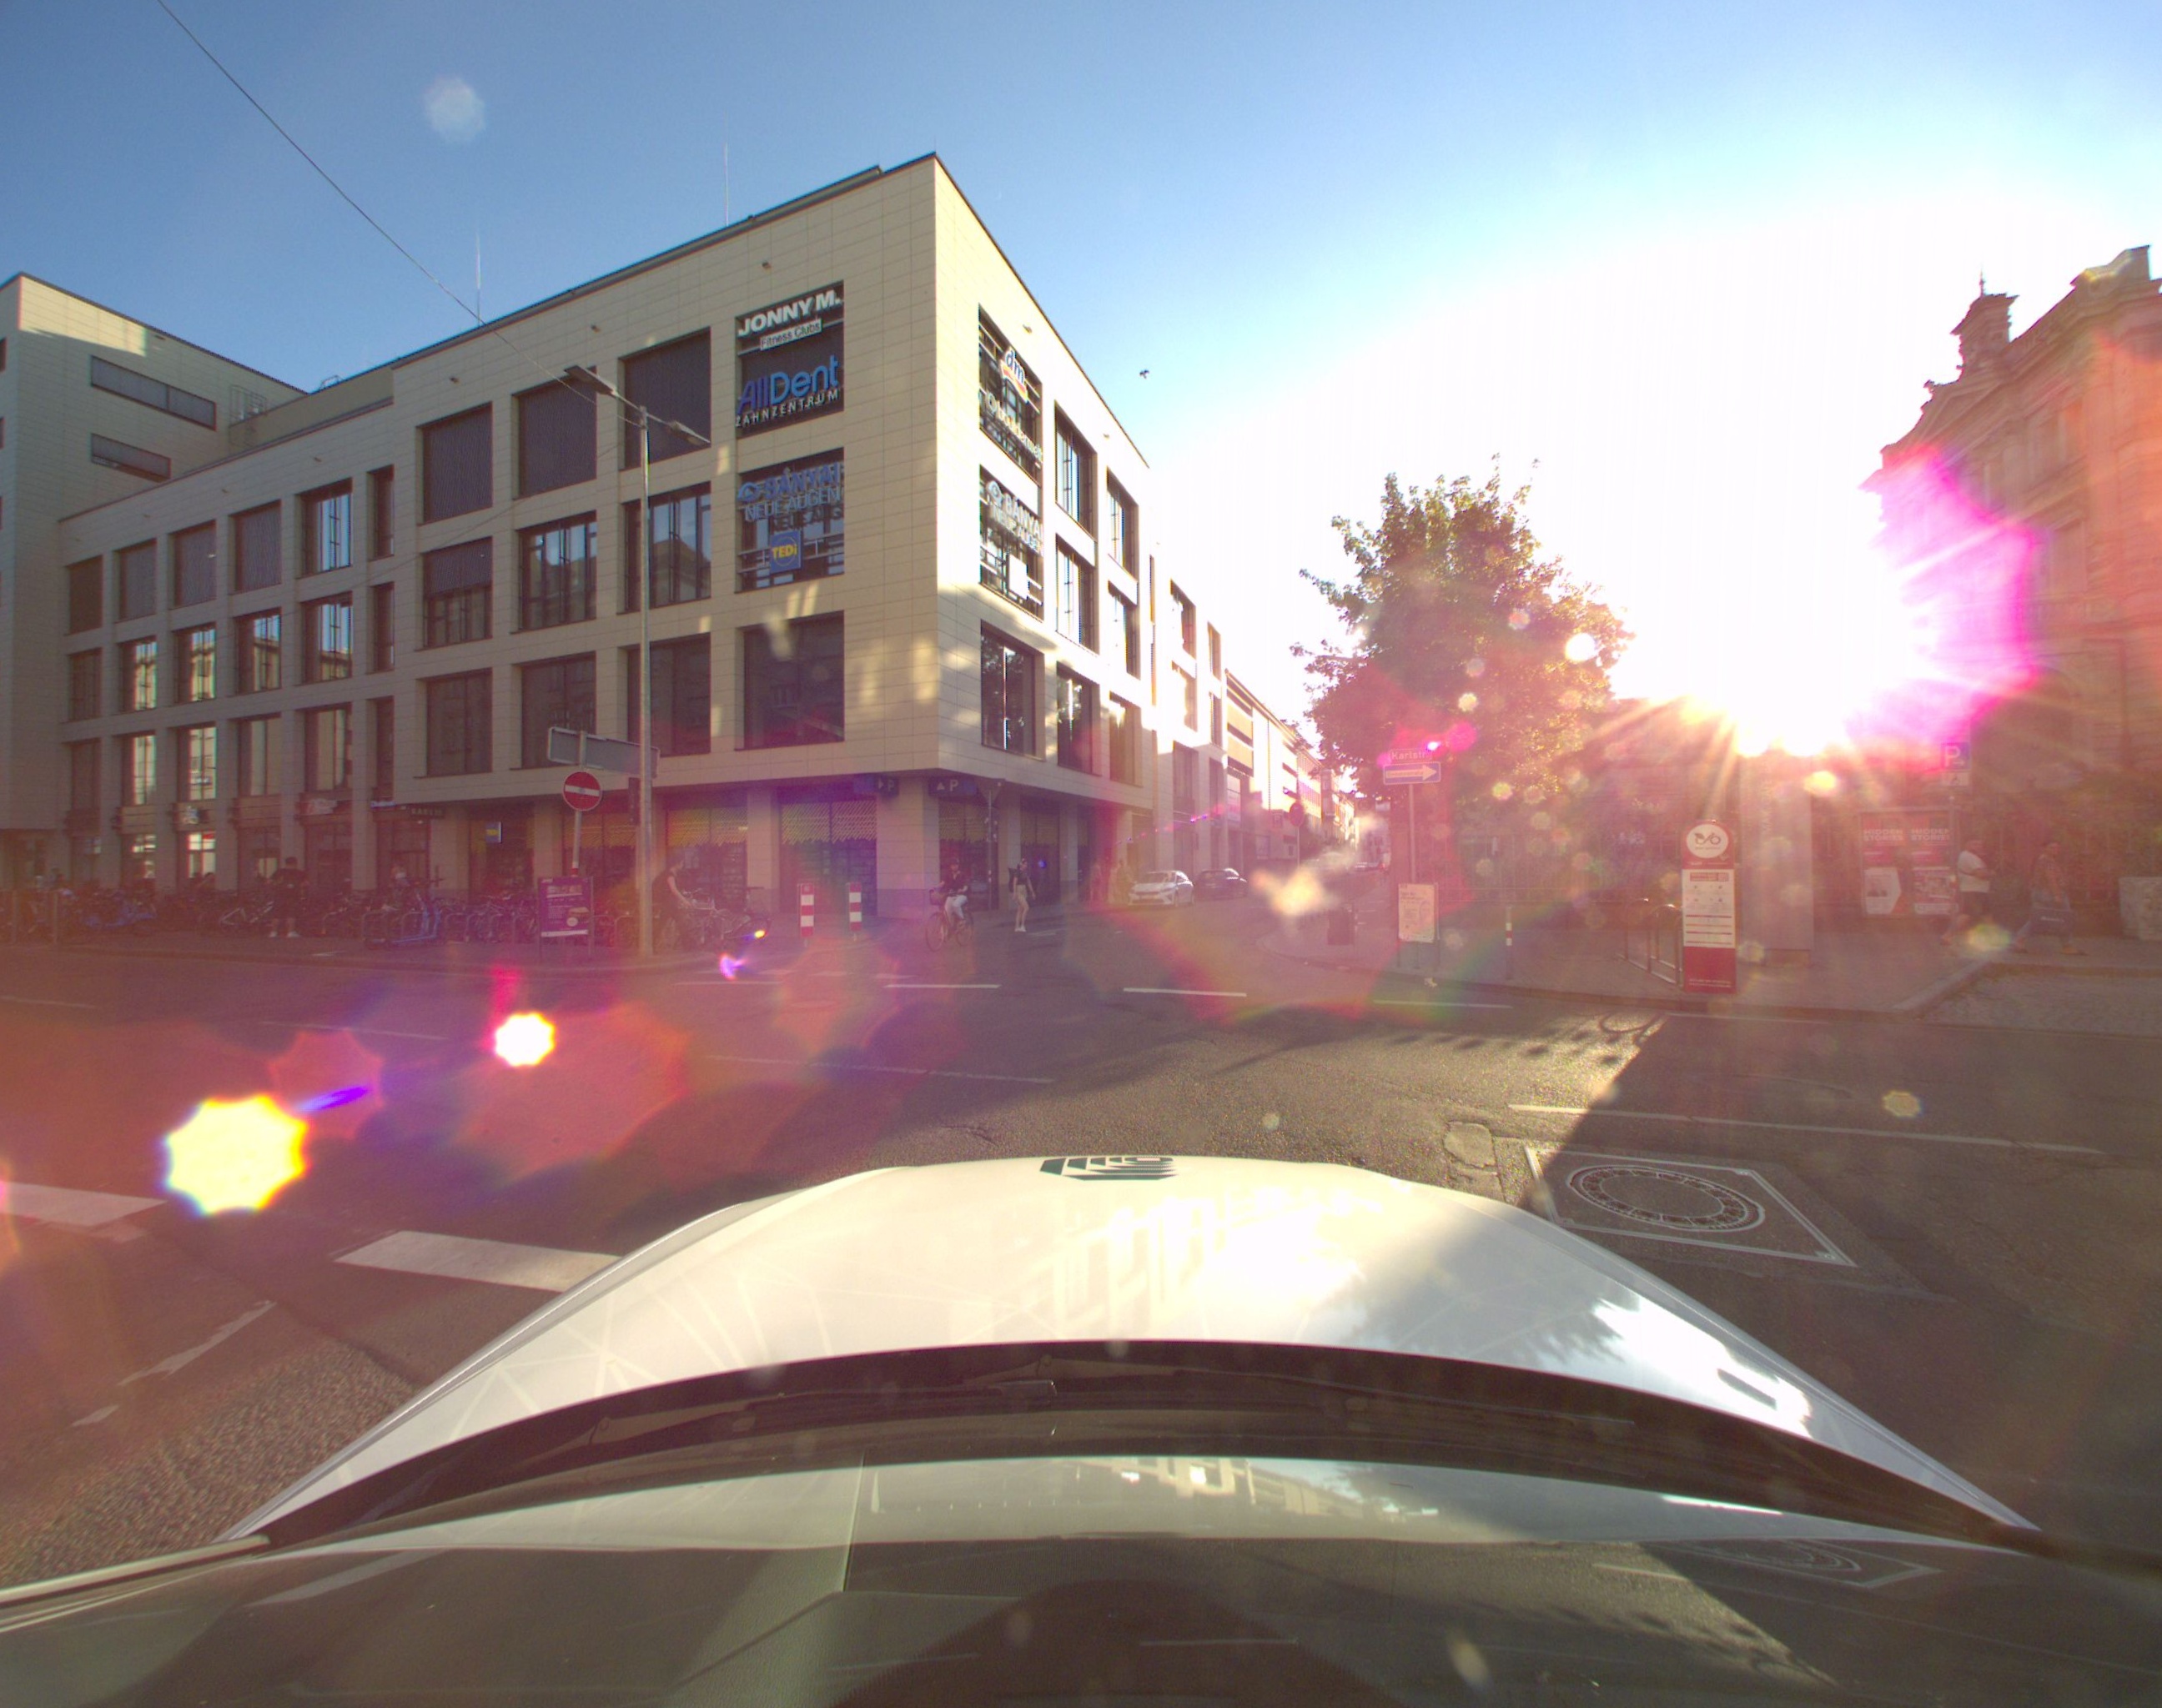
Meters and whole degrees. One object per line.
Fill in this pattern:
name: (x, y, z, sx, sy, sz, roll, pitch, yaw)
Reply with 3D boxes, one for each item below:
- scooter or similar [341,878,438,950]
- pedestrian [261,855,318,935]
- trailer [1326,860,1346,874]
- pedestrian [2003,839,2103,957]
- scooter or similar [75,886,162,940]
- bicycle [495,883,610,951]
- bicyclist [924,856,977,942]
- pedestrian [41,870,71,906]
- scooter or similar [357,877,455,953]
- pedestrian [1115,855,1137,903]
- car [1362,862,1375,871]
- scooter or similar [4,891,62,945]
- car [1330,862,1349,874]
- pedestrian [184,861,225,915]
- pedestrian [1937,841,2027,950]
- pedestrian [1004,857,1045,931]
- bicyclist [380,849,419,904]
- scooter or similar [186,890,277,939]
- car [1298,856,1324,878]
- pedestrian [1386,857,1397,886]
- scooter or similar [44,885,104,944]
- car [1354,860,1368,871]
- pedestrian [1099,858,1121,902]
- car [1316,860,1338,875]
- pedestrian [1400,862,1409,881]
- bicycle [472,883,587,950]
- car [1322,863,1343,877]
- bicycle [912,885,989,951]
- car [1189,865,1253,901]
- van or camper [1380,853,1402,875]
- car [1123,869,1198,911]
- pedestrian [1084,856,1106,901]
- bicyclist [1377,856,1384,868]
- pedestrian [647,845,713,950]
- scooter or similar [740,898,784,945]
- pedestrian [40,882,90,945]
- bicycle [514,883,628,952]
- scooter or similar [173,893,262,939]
scooter or similar: (-12.326, 1.039, 14.559, 0.383, 1.212, 1.277, -1, -1, 21)
pedestrian: (-17.181, 0.880, 17.691, 0.636, 1.695, 0.688, -1, -1, 25)
trailer: (29.463, 1.527, 94.062, 1.976, 1.557, 4.020, -1, -1, 21)
pedestrian: (14.240, 0.623, 11.947, 0.699, 1.670, 0.644, -1, 0, 8)
scooter or similar: (-23.305, 1.410, 19.748, 0.383, 1.242, 1.277, -1, -2, 21)
bicycle: (-10.542, 1.221, 16.342, 0.507, 1.255, 1.989, -1, -1, 21)
bicyclist: (-2.455, 0.828, 15.397, 0.653, 1.571, 0.867, -1, -2, 18)
pedestrian: (-48.600, 1.595, 38.621, 0.637, 1.695, 0.688, -1, -1, 21)
scooter or similar: (-11.810, 1.039, 14.289, 0.383, 1.260, 1.277, -1, -2, 21)
pedestrian: (1.756, 0.968, 31.561, 0.666, 1.836, 0.650, -1, -1, 20)
car: (53.352, 2.313, 150.919, 1.976, 1.684, 4.021, -1, -1, 23)
scooter or similar: (-24.141, 1.450, 18.756, 1.255, 1.181, 0.519, -1, -2, 25)
car: (31.085, 1.664, 97.823, 1.867, 1.453, 4.021, -1, -1, 21)
pedestrian: (-28.004, 1.088, 26.031, 0.637, 1.695, 0.688, -1, -1, 21)
pedestrian: (14.132, 0.634, 12.787, 0.699, 1.670, 0.644, -1, 0, 8)
pedestrian: (-1.359, 0.948, 19.525, 0.640, 1.723, 0.836, 0, -1, -33)
bicyclist: (-21.265, 0.701, 25.411, 0.636, 1.695, 0.688, -1, -1, 22)
scooter or similar: (-18.309, 1.289, 17.581, 0.383, 0.992, 1.277, -1, -1, 21)
car: (21.237, 1.174, 74.948, 1.867, 1.912, 4.772, -1, -1, 21)
pedestrian: (17.965, 1.020, 47.088, 0.480, 1.658, 0.621, -3, -2, 15)
scooter or similar: (-22.283, 1.324, 18.023, 1.255, 1.242, 0.519, -1, -2, 25)
car: (44.726, 1.791, 130.045, 1.976, 1.684, 4.021, -1, -1, 23)
pedestrian: (1.138, 1.015, 31.771, 0.666, 1.675, 0.650, -1, -1, 20)
car: (25.887, 1.396, 85.557, 1.867, 1.453, 4.021, -1, -1, 21)
pedestrian: (28.339, 1.512, 71.361, 0.656, 1.666, 0.627, -3, -2, 22)
bicycle: (-11.193, 1.228, 16.622, 0.507, 1.255, 1.989, -1, -1, 21)
car: (27.900, 1.735, 90.259, 1.867, 1.453, 4.021, -1, -1, 21)
bicycle: (-2.434, 1.179, 15.444, 0.658, 1.138, 1.830, -1, -1, 19)
car: (6.792, 1.329, 39.178, 1.866, 1.598, 4.716, -1, -1, 24)
van or camper: (39.578, 1.308, 103.755, 2.238, 2.607, 5.139, -5, -3, 22)
car: (3.084, 1.305, 30.803, 1.762, 1.453, 4.252, -1, -1, 21)
pedestrian: (0.562, 0.967, 32.295, 0.666, 1.744, 0.651, -1, -1, 22)
bicyclist: (47.343, 1.316, 128.749, 0.981, 1.869, 0.712, -1, -2, 24)
pedestrian: (-6.488, 0.686, 13.205, 0.872, 1.658, 0.615, 0, -1, -18)
scooter or similar: (-6.365, 1.343, 16.265, 0.383, 0.884, 0.774, -1, -2, 21)
pedestrian: (-28.087, 1.626, 22.524, 0.637, 1.695, 0.688, -1, -1, 21)
bicycle: (-10.026, 1.215, 16.110, 0.507, 1.255, 1.989, -1, -1, 21)
scooter or similar: (-18.915, 1.345, 17.870, 0.383, 0.942, 1.277, -1, -1, 21)
